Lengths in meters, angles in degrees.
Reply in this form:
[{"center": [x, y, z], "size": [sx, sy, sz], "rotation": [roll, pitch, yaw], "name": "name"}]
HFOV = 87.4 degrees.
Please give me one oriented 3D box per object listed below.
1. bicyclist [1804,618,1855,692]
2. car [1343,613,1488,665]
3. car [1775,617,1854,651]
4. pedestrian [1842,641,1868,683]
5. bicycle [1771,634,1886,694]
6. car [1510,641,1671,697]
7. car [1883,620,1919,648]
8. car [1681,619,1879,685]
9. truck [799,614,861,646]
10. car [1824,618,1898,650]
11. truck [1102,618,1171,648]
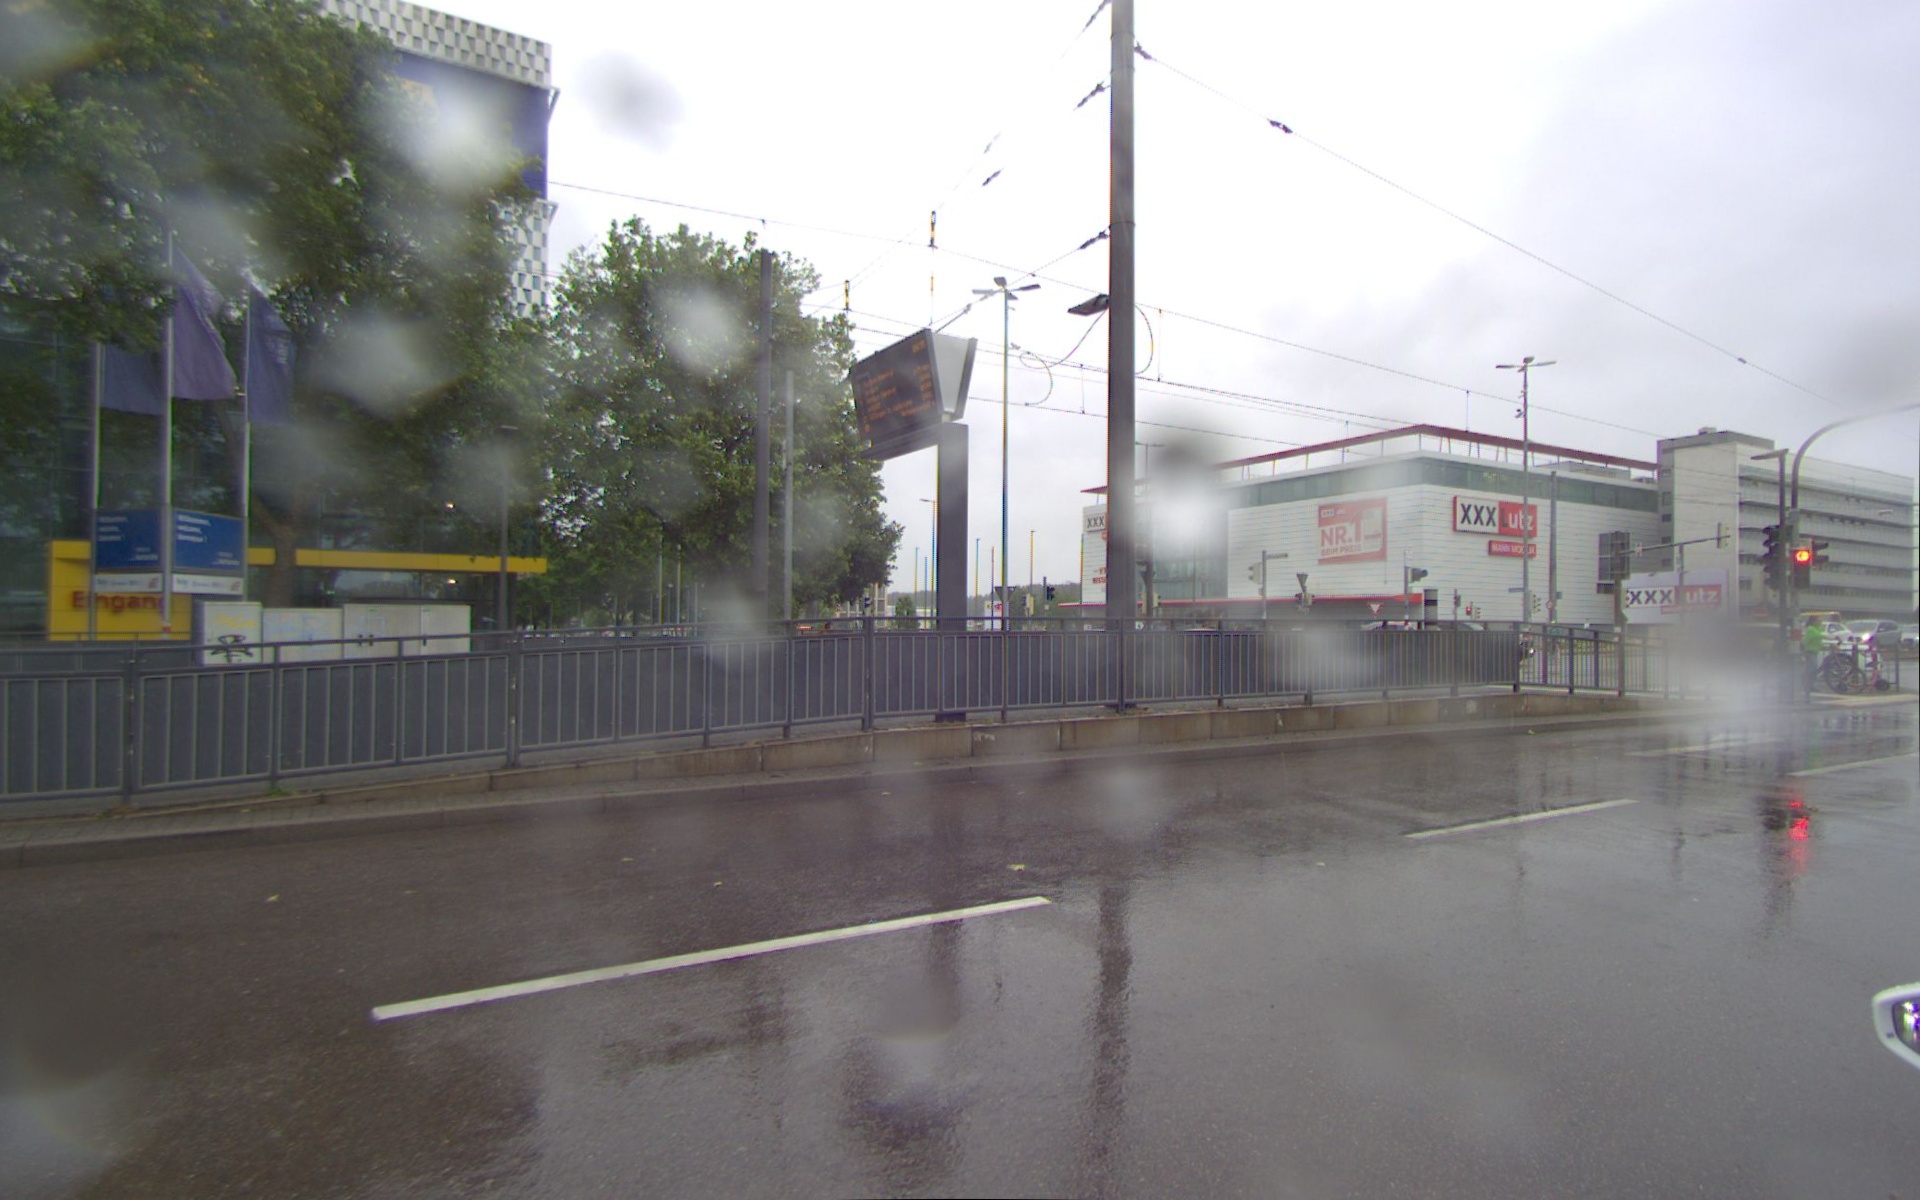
[{"center": [18.309, 1.139, 21.162], "size": [0.593, 1.511, 0.600], "rotation": [2, 0, 20], "name": "bicyclist"}, {"center": [16.226, 1.367, 35.987], "size": [1.697, 1.521, 4.466], "rotation": [2, 1, -34], "name": "car"}, {"center": [41.223, 1.659, 48.445], "size": [3.765, 1.445, 1.702], "rotation": [3, 1, -30], "name": "car"}, {"center": [19.900, 1.376, 22.342], "size": [0.376, 0.909, 0.313], "rotation": [1, 2, -32], "name": "pedestrian"}, {"center": [18.280, 1.343, 21.180], "size": [1.724, 1.153, 0.520], "rotation": [2, 0, 18], "name": "bicycle"}, {"center": [21.981, 2.349, 35.148], "size": [1.703, 1.521, 4.449], "rotation": [2, 1, -44], "name": "car"}, {"center": [52.380, 1.907, 55.093], "size": [3.527, 1.445, 1.552], "rotation": [3, 1, -30], "name": "car"}, {"center": [23.374, 1.436, 28.750], "size": [4.211, 1.521, 1.812], "rotation": [3, 1, 42], "name": "car"}, {"center": [-11.073, 2.467, 84.939], "size": [2.445, 2.240, 7.329], "rotation": [3, 0, -31], "name": "truck"}, {"center": [46.202, 1.745, 51.499], "size": [3.765, 1.445, 1.702], "rotation": [3, 1, -30], "name": "car"}, {"center": [13.879, 2.601, 79.301], "size": [1.990, 1.968, 5.847], "rotation": [3, 0, -31], "name": "truck"}]
